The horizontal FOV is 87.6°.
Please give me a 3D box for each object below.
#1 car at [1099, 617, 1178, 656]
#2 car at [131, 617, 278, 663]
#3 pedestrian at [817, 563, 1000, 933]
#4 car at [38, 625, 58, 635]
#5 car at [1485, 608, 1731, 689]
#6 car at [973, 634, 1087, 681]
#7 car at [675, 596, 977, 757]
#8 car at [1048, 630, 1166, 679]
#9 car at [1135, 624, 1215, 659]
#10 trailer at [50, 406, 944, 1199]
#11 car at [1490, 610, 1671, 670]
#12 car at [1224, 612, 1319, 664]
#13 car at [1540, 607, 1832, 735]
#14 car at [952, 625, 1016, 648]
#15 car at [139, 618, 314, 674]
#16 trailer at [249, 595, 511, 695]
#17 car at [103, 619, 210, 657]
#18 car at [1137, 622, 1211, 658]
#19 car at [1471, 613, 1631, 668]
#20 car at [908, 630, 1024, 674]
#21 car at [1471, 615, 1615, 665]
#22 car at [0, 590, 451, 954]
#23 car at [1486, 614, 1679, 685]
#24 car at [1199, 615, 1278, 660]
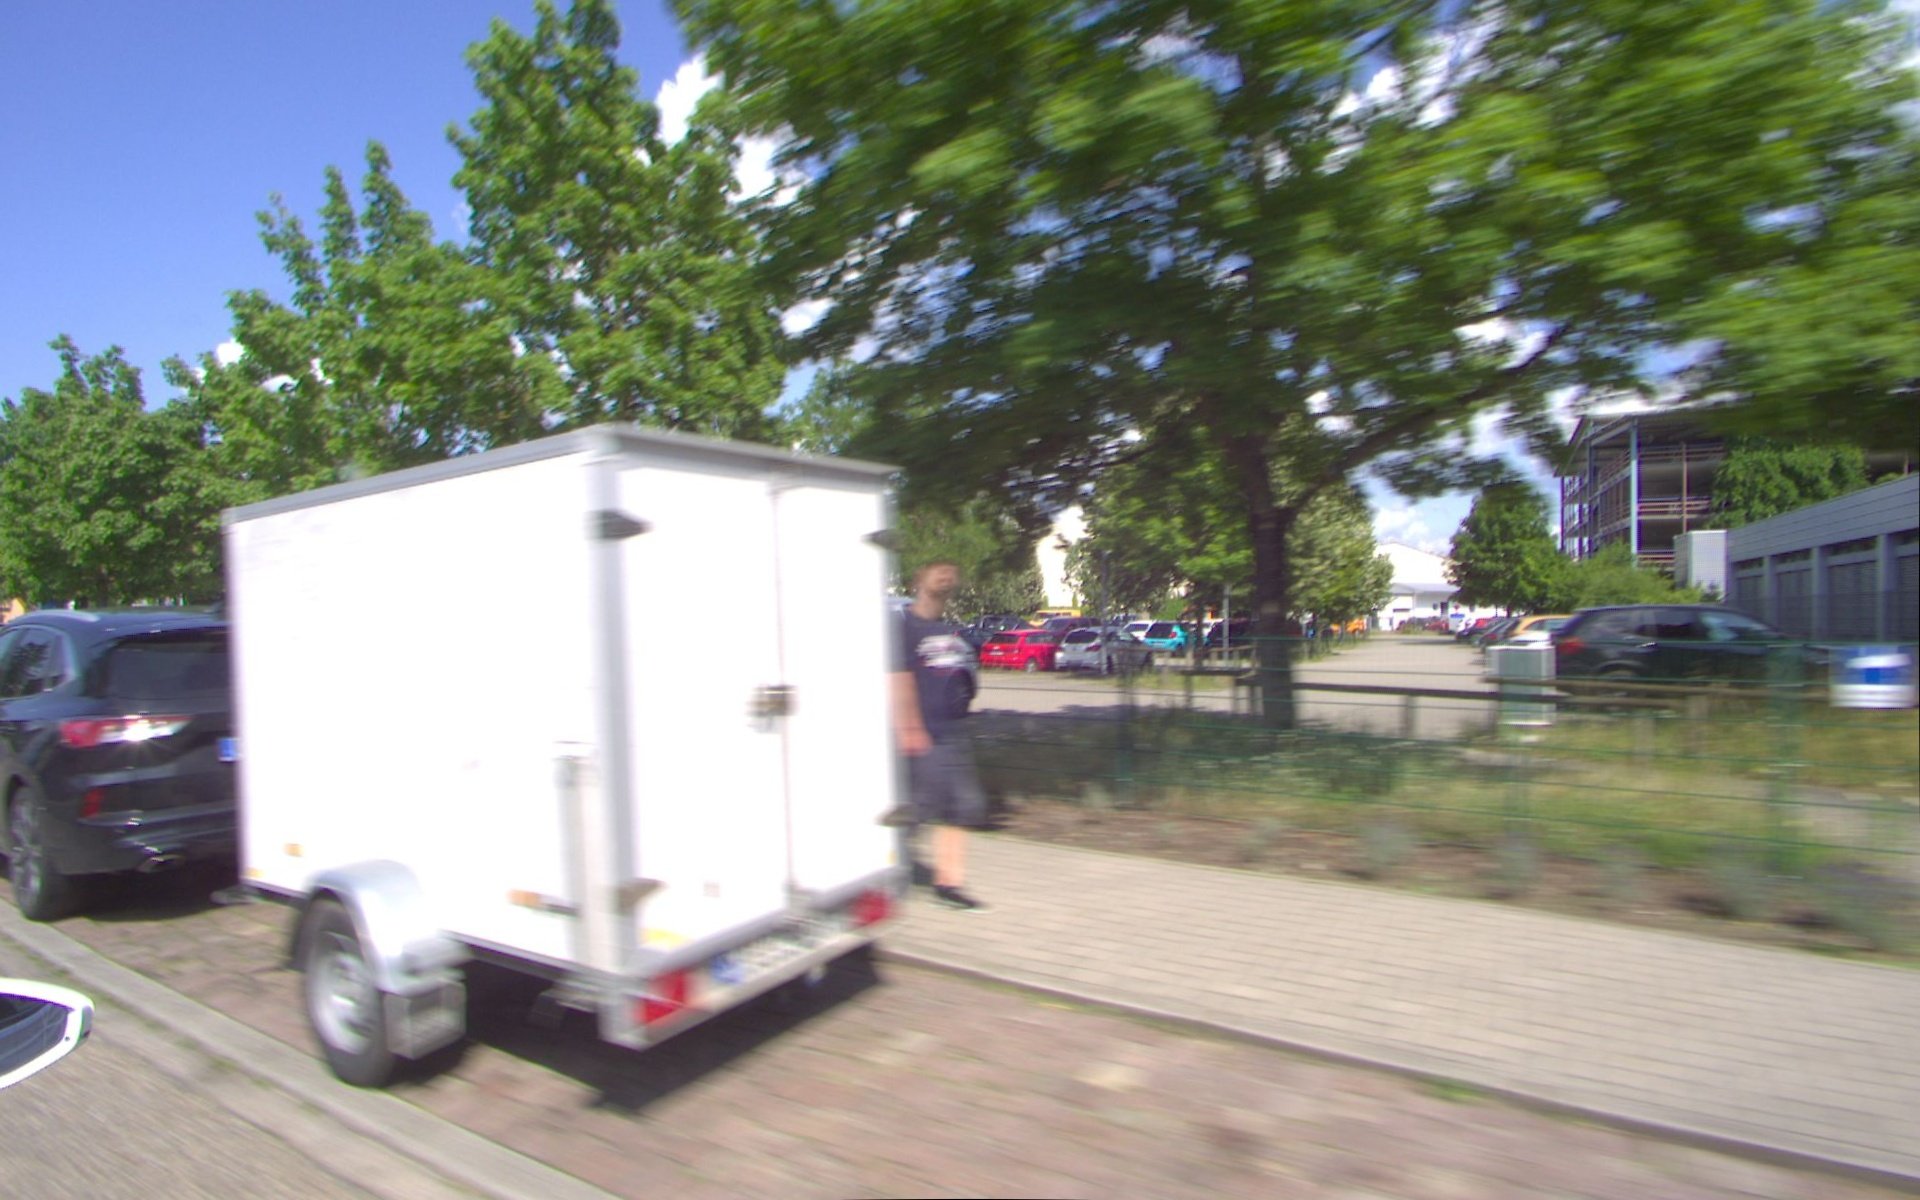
[{"bbox_3d":[8.688,1.771,48.433,1.978,1.792,3.968,-1,-3,42],"label":"car"},{"bbox_3d":[-29.409,1.519,39.093,1.743,1.642,4.296,-1,0,40],"label":"car"},{"bbox_3d":[-0.236,0.658,4.957,0.571,1.669,0.725,1,3,32],"label":"pedestrian"},{"bbox_3d":[-140.745,4.660,154.574,1.780,1.415,4.471,2,-3,-36],"label":"car"},{"bbox_3d":[14.520,1.094,22.763,4.460,1.701,1.731,-1,-3,25],"label":"car"},{"bbox_3d":[2.305,1.804,32.264,1.699,1.392,3.970,-1,-2,40],"label":"car"},{"bbox_3d":[-1.799,0.957,14.849,1.973,1.992,4.455,1,0,35],"label":"car"},{"bbox_3d":[4.579,1.624,30.827,1.817,1.392,3.970,-1,-2,40],"label":"car"},{"bbox_3d":[8.953,1.696,41.529,1.732,1.392,3.683,-1,-2,40],"label":"car"},{"bbox_3d":[-2.179,0.561,4.389,3.893,2.095,1.740,-1,2,34],"label":"trailer"},{"bbox_3d":[17.104,1.143,27.831,3.931,1.566,1.954,-2,-3,21],"label":"car"},{"bbox_3d":[16.770,2.082,53.719,2.720,2.631,5.750,-1,-3,43],"label":"car"},{"bbox_3d":[10.818,0.997,15.236,3.281,1.670,1.820,0,3,25],"label":"car"},{"bbox_3d":[1.625,2.393,66.081,1.978,1.417,4.247,-1,-3,42],"label":"car"},{"bbox_3d":[-23.940,1.523,32.816,1.835,1.692,4.309,-1,-3,40],"label":"car"},{"bbox_3d":[-13.606,1.005,23.792,2.036,2.109,5.029,-1,-1,38],"label":"trailer"},{"bbox_3d":[-37.518,1.770,46.854,3.841,1.658,1.896,0,-1,-38],"label":"car"},{"bbox_3d":[8.864,1.671,41.334,1.570,1.430,3.272,-1,-3,42],"label":"car"},{"bbox_3d":[17.815,1.269,30.421,3.935,1.566,1.952,-2,-3,25],"label":"car"},{"bbox_3d":[0.256,1.715,34.027,1.835,1.392,3.970,-1,-2,40],"label":"car"},{"bbox_3d":[19.239,1.330,33.252,3.935,1.567,1.951,-2,-1,25],"label":"car"},{"bbox_3d":[-5.624,0.845,6.846,4.648,1.705,1.854,-1,1,36],"label":"car"},{"bbox_3d":[15.517,1.238,25.250,3.936,1.671,1.952,0,-3,26],"label":"car"},{"bbox_3d":[15.663,2.147,56.169,2.071,2.387,5.338,-1,-3,43],"label":"car"}]
